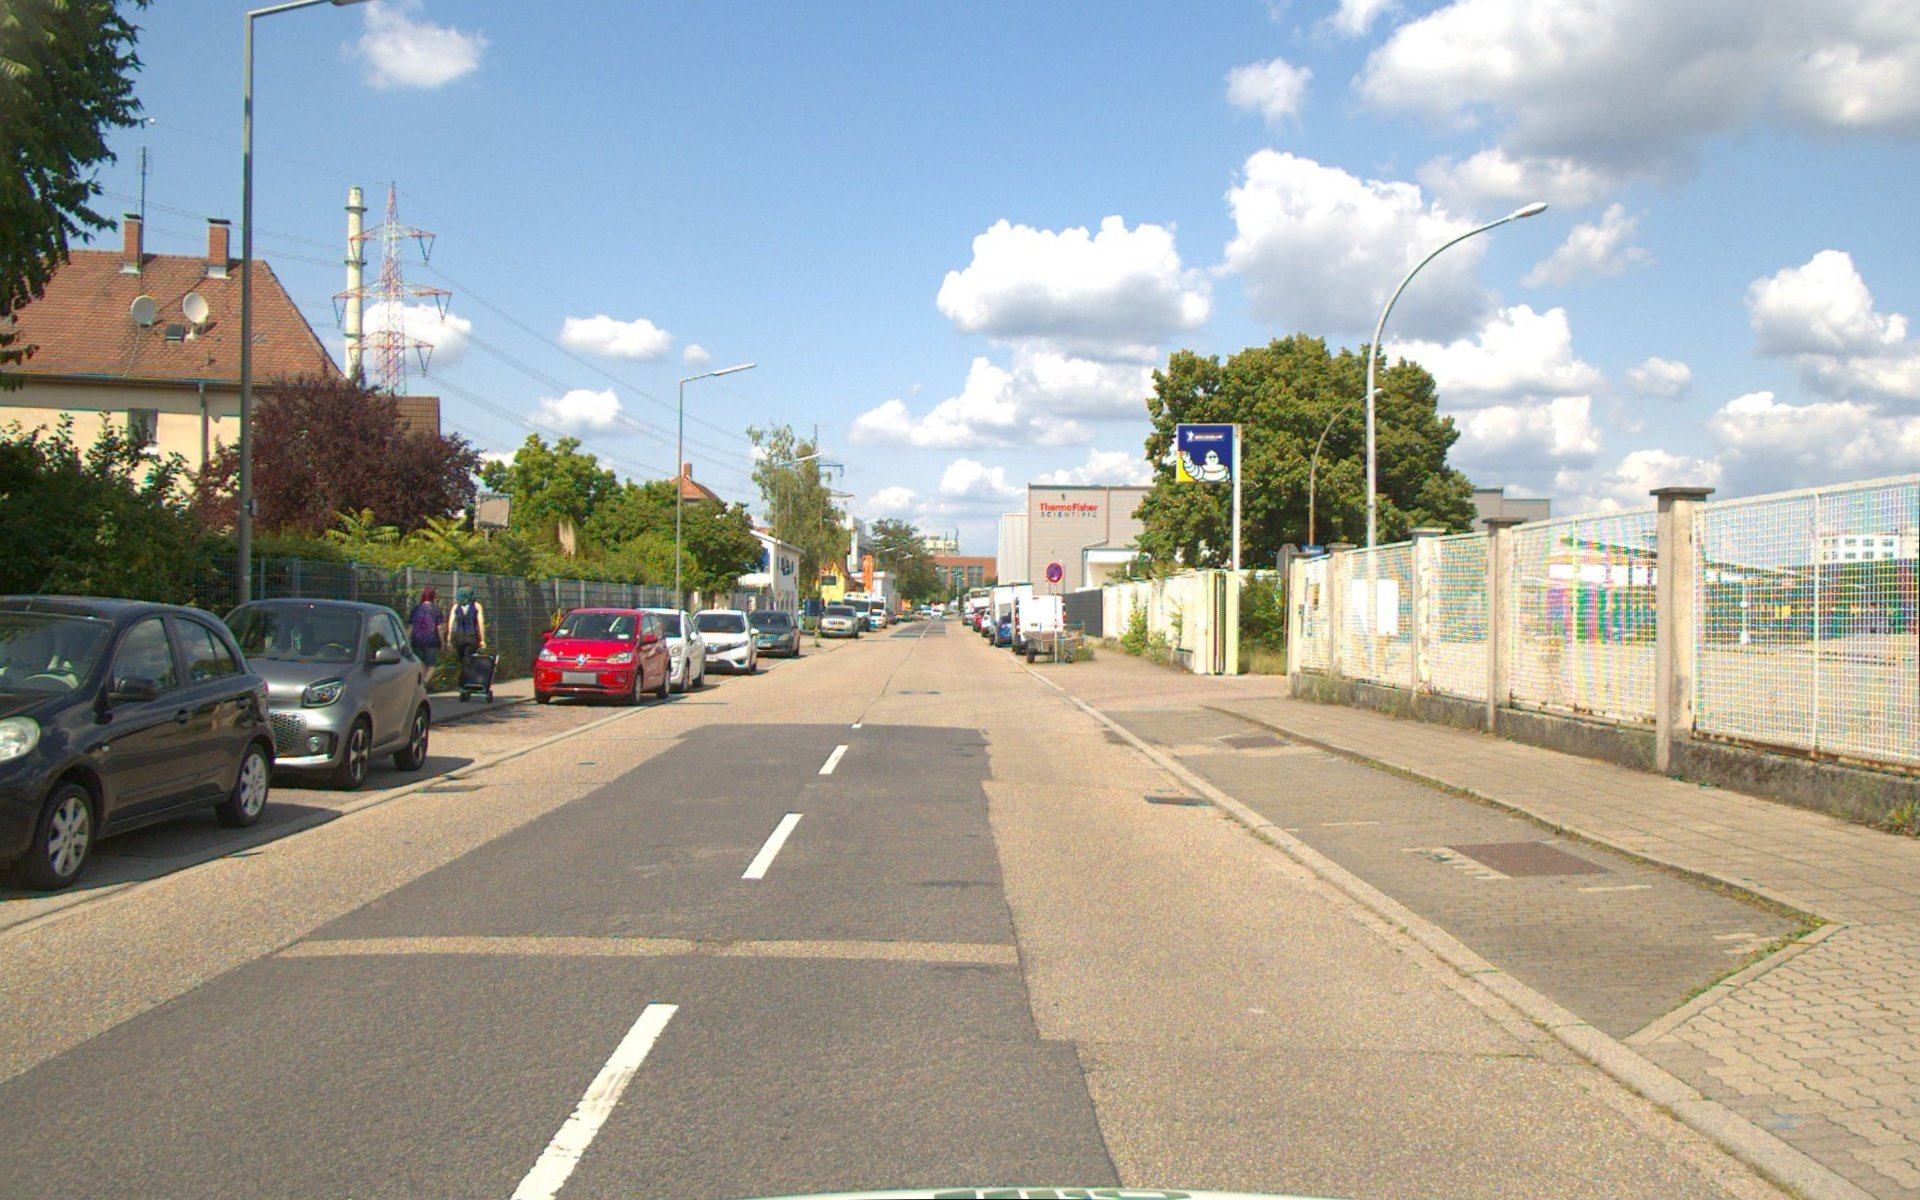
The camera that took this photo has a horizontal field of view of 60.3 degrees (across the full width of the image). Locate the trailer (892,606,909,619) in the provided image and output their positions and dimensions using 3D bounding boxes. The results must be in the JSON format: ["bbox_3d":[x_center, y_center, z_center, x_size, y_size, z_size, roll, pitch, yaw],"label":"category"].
[{"bbox_3d":[-7.557,1.558,210.841,1.953,1.584,4.252,1,0,-1],"label":"trailer"}]

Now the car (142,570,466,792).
[{"bbox_3d":[-5.701,0.650,14.787,1.618,1.674,3.271,4,0,-3],"label":"car"}]

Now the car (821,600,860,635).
[{"bbox_3d":[-6.444,0.920,89.703,1.754,1.749,4.750,3,0,-1],"label":"car"}]

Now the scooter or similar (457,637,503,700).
[{"bbox_3d":[-7.117,1.010,24.533,0.461,0.903,0.710,1,-1,-1],"label":"scooter or similar"}]

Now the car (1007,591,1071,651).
[{"bbox_3d":[2.804,0.743,59.657,1.953,2.049,5.648,0,0,-1],"label":"car"}]

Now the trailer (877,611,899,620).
[{"bbox_3d":[-8.200,1.793,189.802,2.314,0.908,5.568,3,-1,-1],"label":"trailer"}]

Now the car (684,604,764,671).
[{"bbox_3d":[-5.777,0.877,40.827,1.588,1.549,4.172,1,0,-4],"label":"car"}]

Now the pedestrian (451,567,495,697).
[{"bbox_3d":[-7.371,0.485,25.059,0.441,1.927,0.677,1,-1,-1],"label":"pedestrian"}]

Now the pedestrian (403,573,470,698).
[{"bbox_3d":[-7.844,0.532,24.827,0.693,1.832,0.915,1,-1,-1],"label":"pedestrian"}]

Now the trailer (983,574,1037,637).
[{"bbox_3d":[2.336,0.307,78.645,2.160,2.785,6.220,-2,-1,-1],"label":"trailer"}]

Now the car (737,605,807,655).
[{"bbox_3d":[-5.896,0.923,52.352,1.769,1.443,4.494,3,0,-2],"label":"car"}]

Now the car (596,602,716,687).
[{"bbox_3d":[-5.740,0.824,31.628,1.612,1.503,4.027,1,-1,-1],"label":"car"}]

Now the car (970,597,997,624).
[{"bbox_3d":[1.751,0.785,123.668,2.012,1.936,5.147,1,0,1],"label":"car"}]

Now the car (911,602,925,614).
[{"bbox_3d":[-6.346,1.230,249.895,1.882,1.825,4.001,2,-1,2],"label":"car"}]

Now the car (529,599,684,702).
[{"bbox_3d":[-5.639,0.786,26.815,1.632,1.492,3.743,2,-1,0],"label":"car"}]

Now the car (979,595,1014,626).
[{"bbox_3d":[2.118,0.610,97.243,1.896,1.723,4.679,-2,0,-1],"label":"car"}]

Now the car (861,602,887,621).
[{"bbox_3d":[-6.854,0.935,132.206,1.759,1.422,4.501,2,-1,1],"label":"car"}]

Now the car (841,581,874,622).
[{"bbox_3d":[-6.946,0.130,112.465,1.989,2.602,6.653,3,-1,-2],"label":"car"}]

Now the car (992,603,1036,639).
[{"bbox_3d":[2.327,0.913,72.079,1.656,1.486,4.069,-2,-1,-2],"label":"car"}]

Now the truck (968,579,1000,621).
[{"bbox_3d":[1.984,0.051,141.301,2.408,3.350,6.817,-4,-1,0],"label":"truck"}]

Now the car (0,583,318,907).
[{"bbox_3d":[-5.643,0.706,10.150,1.808,1.534,3.999,4,0,-1],"label":"car"}]

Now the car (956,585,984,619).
[{"bbox_3d":[1.044,0.258,172.271,2.341,3.421,6.640,-2,0,-3],"label":"car"}]

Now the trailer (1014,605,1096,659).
[{"bbox_3d":[2.788,0.942,49.341,1.715,1.442,4.543,-2,-1,-6],"label":"trailer"}]
